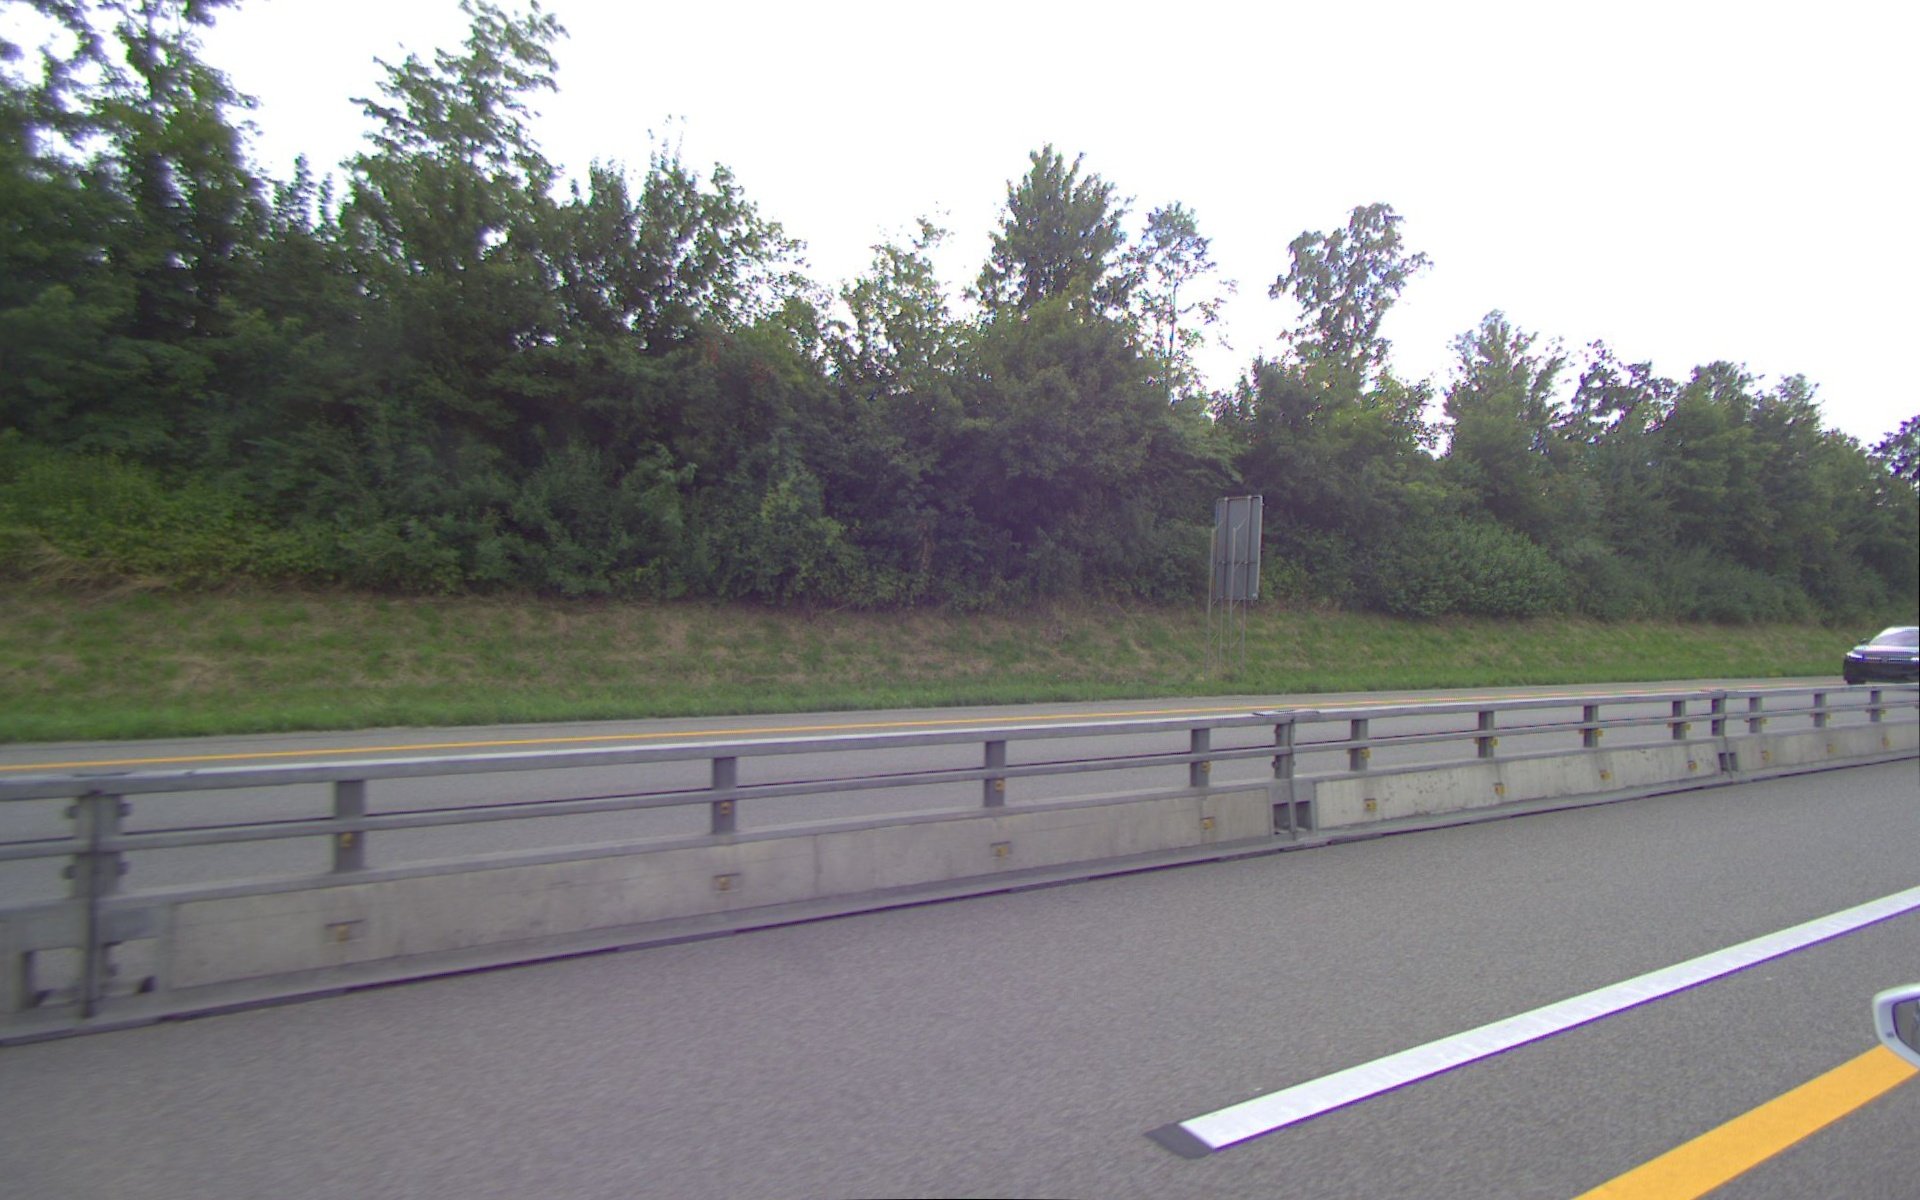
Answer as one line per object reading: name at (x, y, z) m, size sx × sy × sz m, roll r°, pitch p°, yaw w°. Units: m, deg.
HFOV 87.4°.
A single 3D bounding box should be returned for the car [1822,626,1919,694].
car at (24.116, 1.474, 25.393) m, size 4.964 × 1.544 × 1.984 m, roll 1°, pitch 0°, yaw -30°
